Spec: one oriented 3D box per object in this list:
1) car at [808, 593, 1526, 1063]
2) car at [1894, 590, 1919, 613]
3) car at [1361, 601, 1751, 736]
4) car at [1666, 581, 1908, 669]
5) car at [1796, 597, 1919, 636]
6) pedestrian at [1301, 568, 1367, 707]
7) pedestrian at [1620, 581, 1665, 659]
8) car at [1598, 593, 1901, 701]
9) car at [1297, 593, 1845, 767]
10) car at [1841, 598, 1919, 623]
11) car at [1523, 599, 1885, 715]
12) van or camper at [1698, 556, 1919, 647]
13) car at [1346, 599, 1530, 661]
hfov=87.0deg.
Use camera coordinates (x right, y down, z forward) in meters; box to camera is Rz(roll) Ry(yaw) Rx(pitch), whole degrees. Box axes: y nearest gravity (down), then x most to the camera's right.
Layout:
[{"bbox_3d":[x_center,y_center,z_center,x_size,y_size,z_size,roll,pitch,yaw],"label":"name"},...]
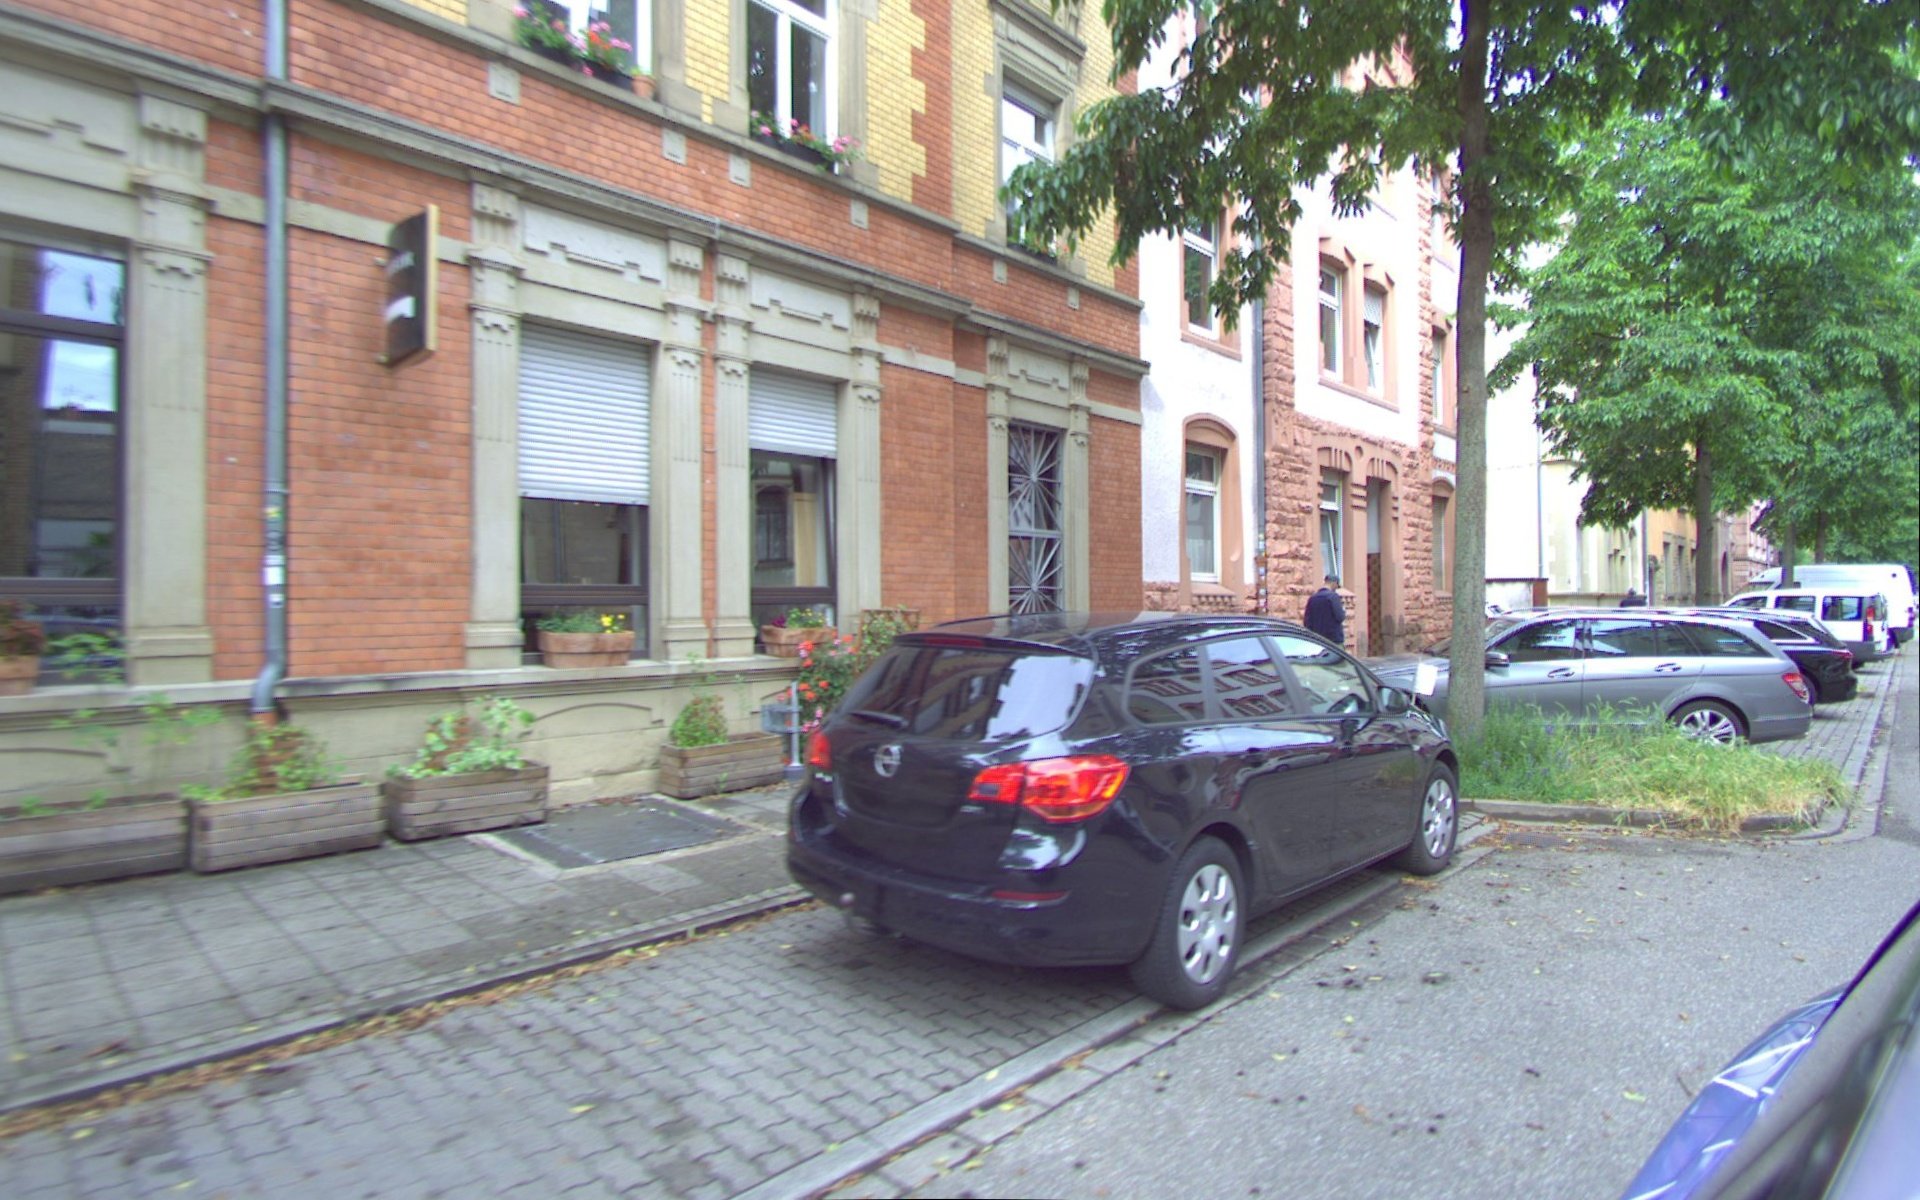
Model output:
[{"bbox_3d":[1.472,0.735,5.518,1.764,1.504,4.408,1,1,44],"label":"car"},{"bbox_3d":[75.798,0.099,80.440,3.934,1.772,1.995,0,-2,-44],"label":"car"},{"bbox_3d":[7.198,0.785,12.652,3.826,1.453,1.739,-1,2,14],"label":"car"},{"bbox_3d":[18.908,0.536,23.309,1.687,1.834,4.000,0,-1,-34],"label":"car"},{"bbox_3d":[36.291,0.685,40.834,3.552,1.485,1.623,-1,-1,13],"label":"car"},{"bbox_3d":[4.875,0.470,13.179,0.597,1.755,0.653,-1,-1,43],"label":"pedestrian"},{"bbox_3d":[16.376,0.474,24.291,0.804,1.835,0.701,0,-2,-45],"label":"pedestrian"},{"bbox_3d":[12.518,0.739,16.336,3.428,1.583,1.773,-1,-1,22],"label":"car"},{"bbox_3d":[5.850,0.702,10.277,4.375,1.445,1.753,1,1,11],"label":"car"},{"bbox_3d":[56.727,0.631,62.194,3.577,1.485,1.612,-2,-1,32],"label":"car"},{"bbox_3d":[10.163,0.746,14.132,3.638,1.485,1.698,-1,-1,14],"label":"car"},{"bbox_3d":[25.868,0.080,30.799,4.995,2.624,2.064,-1,-1,15],"label":"van or camper"},{"bbox_3d":[12.219,0.734,26.030,3.987,1.472,1.584,-1,-1,44],"label":"car"}]
